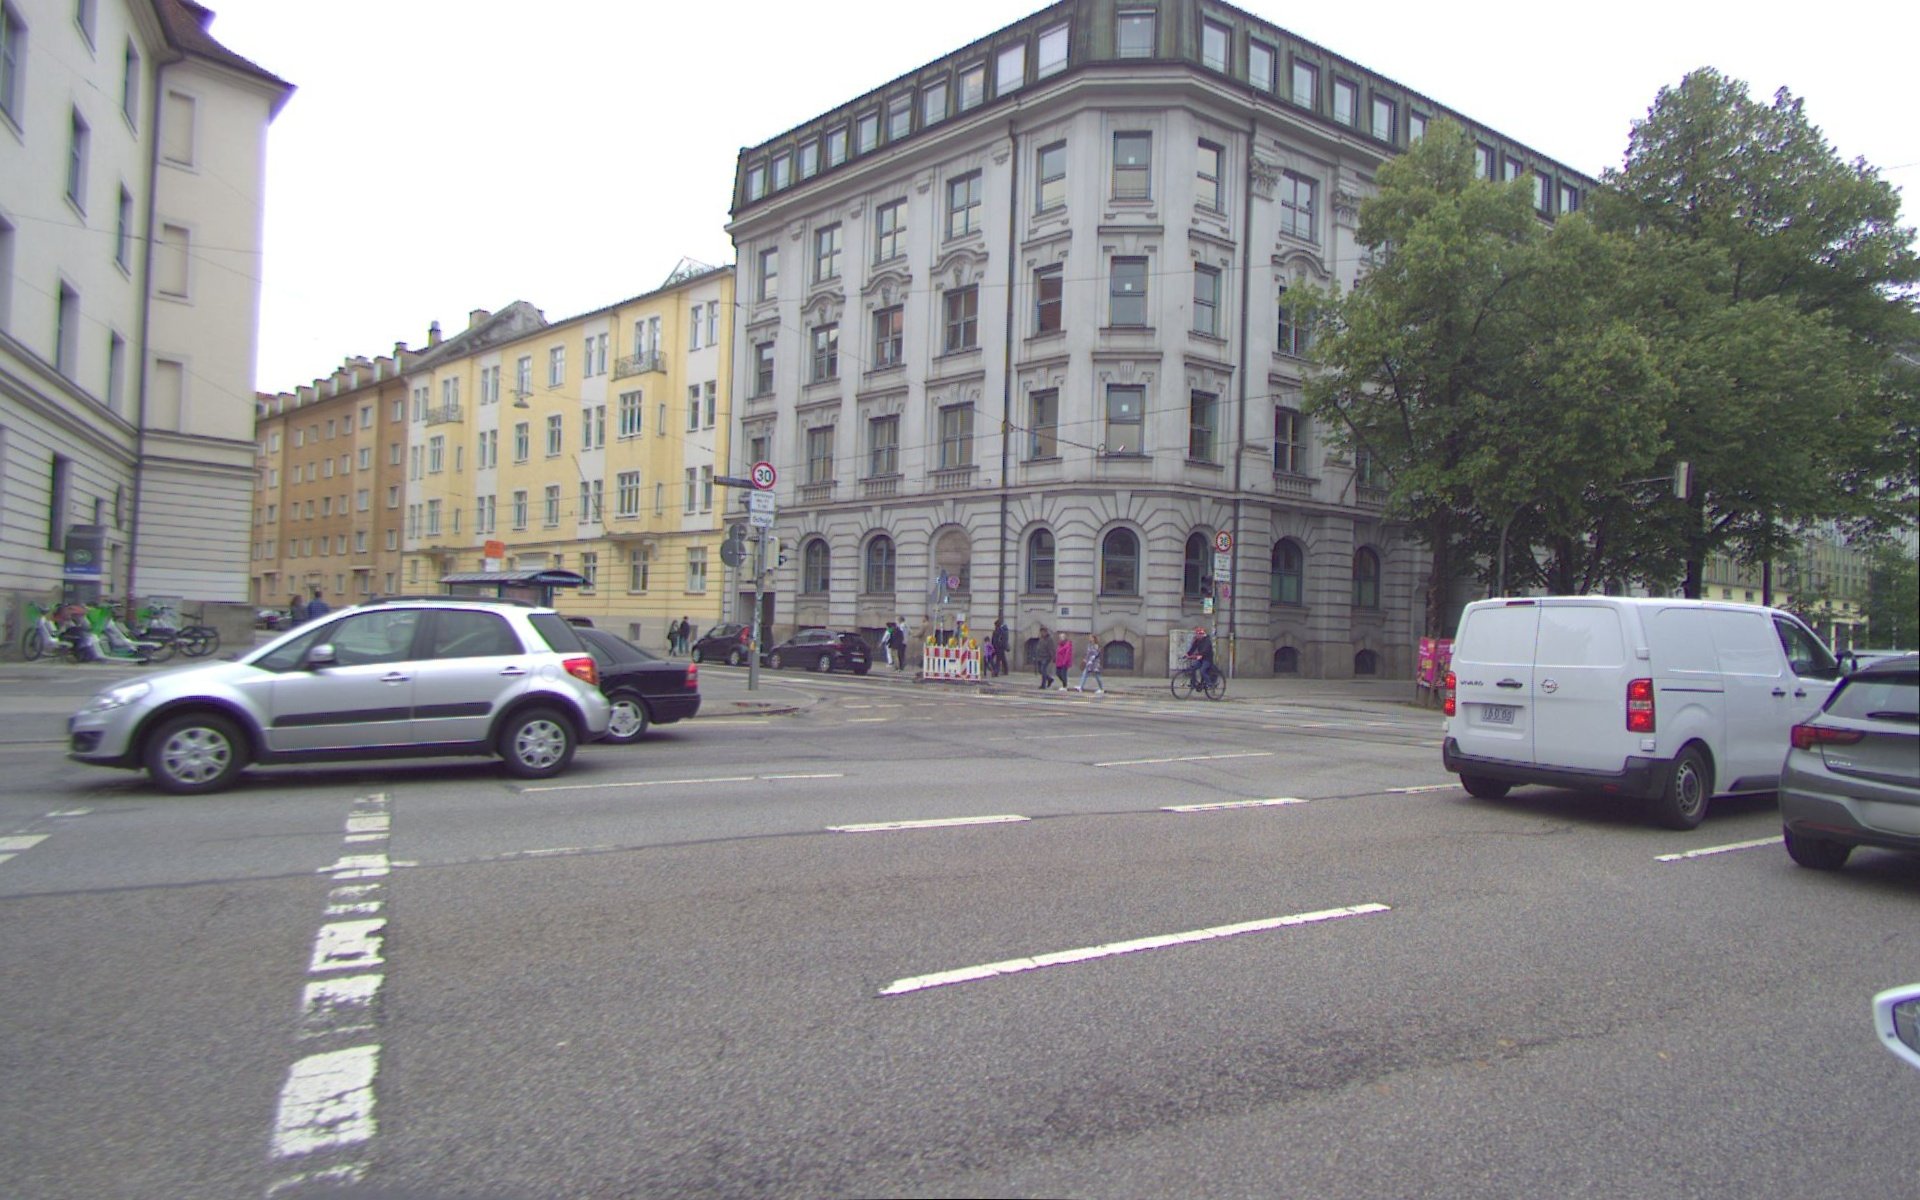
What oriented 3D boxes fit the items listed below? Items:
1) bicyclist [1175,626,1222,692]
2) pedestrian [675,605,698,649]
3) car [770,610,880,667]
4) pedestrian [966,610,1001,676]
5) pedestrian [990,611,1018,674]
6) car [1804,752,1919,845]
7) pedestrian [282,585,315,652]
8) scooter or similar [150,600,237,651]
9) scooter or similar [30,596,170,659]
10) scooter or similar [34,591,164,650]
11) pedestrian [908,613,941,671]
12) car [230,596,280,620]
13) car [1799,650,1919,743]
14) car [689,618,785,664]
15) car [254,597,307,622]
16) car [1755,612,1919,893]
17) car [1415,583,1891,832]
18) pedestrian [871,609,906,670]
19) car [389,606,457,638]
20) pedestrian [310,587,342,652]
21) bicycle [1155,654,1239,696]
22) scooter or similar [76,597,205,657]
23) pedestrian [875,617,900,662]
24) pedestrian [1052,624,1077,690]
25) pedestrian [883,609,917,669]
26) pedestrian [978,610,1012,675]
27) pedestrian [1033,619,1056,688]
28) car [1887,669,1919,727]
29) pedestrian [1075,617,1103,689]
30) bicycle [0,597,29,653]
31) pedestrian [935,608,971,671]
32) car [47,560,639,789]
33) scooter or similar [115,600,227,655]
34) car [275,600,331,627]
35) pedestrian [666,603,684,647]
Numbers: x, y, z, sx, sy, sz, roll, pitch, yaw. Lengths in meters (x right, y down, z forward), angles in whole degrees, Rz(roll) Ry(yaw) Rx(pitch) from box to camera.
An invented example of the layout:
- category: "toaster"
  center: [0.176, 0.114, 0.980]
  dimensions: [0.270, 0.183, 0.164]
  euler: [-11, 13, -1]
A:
- category: "bicyclist"
  center: [6.047, 1.496, 25.479]
  dimensions: [0.881, 1.599, 0.657]
  euler: [3, 0, -29]
- category: "pedestrian"
  center: [-11.896, 1.159, 43.702]
  dimensions: [0.671, 1.879, 0.625]
  euler: [1, -2, 43]
- category: "car"
  center: [-4.483, 1.253, 33.151]
  dimensions: [3.521, 1.753, 1.685]
  euler: [0, -2, 42]
- category: "pedestrian"
  center: [0.750, 1.354, 31.954]
  dimensions: [0.768, 2.040, 0.640]
  euler: [3, 0, 39]
- category: "pedestrian"
  center: [1.464, 1.405, 33.262]
  dimensions: [0.570, 2.040, 0.664]
  euler: [3, 0, 39]
- category: "car"
  center: [20.573, 4.327, 22.290]
  dimensions: [3.900, 1.592, 1.626]
  euler: [3, -2, -30]
- category: "pedestrian"
  center: [-19.097, 0.530, 28.998]
  dimensions: [0.652, 1.877, 0.802]
  euler: [3, 0, -29]
- category: "scooter or similar"
  center: [-18.204, 0.614, 23.894]
  dimensions: [1.529, 1.133, 0.542]
  euler: [3, 0, -30]
- category: "scooter or similar"
  center: [-16.892, 0.544, 19.778]
  dimensions: [1.921, 1.133, 0.686]
  euler: [3, 0, -25]
- category: "scooter or similar"
  center: [-18.098, 0.428, 21.167]
  dimensions: [1.921, 1.133, 0.686]
  euler: [3, 0, -25]
- category: "pedestrian"
  center: [-1.272, 1.498, 36.084]
  dimensions: [0.768, 2.040, 0.799]
  euler: [3, 0, 39]
- category: "car"
  center: [-50.791, 0.588, 72.347]
  dimensions: [3.664, 1.617, 1.992]
  euler: [0, -2, 39]
- category: "car"
  center: [18.108, 1.838, 19.452]
  dimensions: [3.900, 1.592, 1.626]
  euler: [3, -2, -30]
- category: "car"
  center: [-8.203, 1.493, 36.879]
  dimensions: [3.521, 1.538, 1.685]
  euler: [0, -2, 42]
- category: "car"
  center: [-46.722, 0.660, 69.008]
  dimensions: [3.664, 1.617, 1.992]
  euler: [0, -2, 39]
- category: "car"
  center: [7.214, 0.978, 6.680]
  dimensions: [3.954, 1.572, 1.701]
  euler: [3, -1, -31]
- category: "car"
  center: [6.764, 0.949, 9.647]
  dimensions: [4.899, 1.871, 1.889]
  euler: [4, -2, -31]
- category: "pedestrian"
  center: [-2.463, 1.355, 34.666]
  dimensions: [0.768, 2.040, 0.799]
  euler: [3, 0, 39]
- category: "car"
  center: [-29.313, 1.209, 54.796]
  dimensions: [3.664, 1.617, 1.992]
  euler: [0, -2, 39]
- category: "pedestrian"
  center: [-18.536, 0.564, 29.371]
  dimensions: [0.652, 1.877, 0.802]
  euler: [3, 0, -29]
- category: "bicycle"
  center: [6.020, 1.906, 25.460]
  dimensions: [2.155, 1.001, 0.658]
  euler: [3, 0, -30]
- category: "scooter or similar"
  center: [-16.937, 0.560, 20.813]
  dimensions: [1.925, 1.133, 0.685]
  euler: [3, 0, -30]
- category: "pedestrian"
  center: [-2.651, 1.446, 36.662]
  dimensions: [0.568, 1.616, 0.645]
  euler: [3, 0, 39]
- category: "pedestrian"
  center: [2.846, 1.538, 27.390]
  dimensions: [0.461, 1.762, 0.502]
  euler: [3, -2, -11]
- category: "pedestrian"
  center: [-2.094, 1.365, 35.289]
  dimensions: [0.768, 2.040, 0.799]
  euler: [3, 0, 39]
- category: "pedestrian"
  center: [1.125, 1.380, 32.552]
  dimensions: [0.768, 2.040, 0.664]
  euler: [3, 0, 39]
- category: "pedestrian"
  center: [2.340, 1.469, 27.818]
  dimensions: [0.461, 1.879, 0.502]
  euler: [3, -2, -11]
- category: "car"
  center: [28.874, 2.846, 29.277]
  dimensions: [3.956, 1.616, 1.735]
  euler: [3, -4, -32]
- category: "pedestrian"
  center: [3.417, 1.391, 26.595]
  dimensions: [0.518, 1.879, 0.502]
  euler: [3, -2, -11]
- category: "bicycle"
  center: [-17.191, 0.417, 17.691]
  dimensions: [1.252, 0.959, 0.406]
  euler: [3, 0, 7]
- category: "pedestrian"
  center: [-0.229, 1.316, 33.432]
  dimensions: [0.768, 2.040, 0.799]
  euler: [3, 0, 39]
- category: "car"
  center: [-5.206, 0.647, 9.053]
  dimensions: [4.116, 1.661, 1.671]
  euler: [3, -2, -30]
- category: "scooter or similar"
  center: [-18.022, 0.634, 22.993]
  dimensions: [1.879, 1.173, 0.685]
  euler: [3, 0, -30]
- category: "car"
  center: [-43.064, 0.889, 65.813]
  dimensions: [3.664, 1.617, 1.992]
  euler: [0, -2, 39]
- category: "pedestrian"
  center: [-12.301, 1.070, 43.286]
  dimensions: [0.463, 1.879, 0.500]
  euler: [1, -2, 43]
